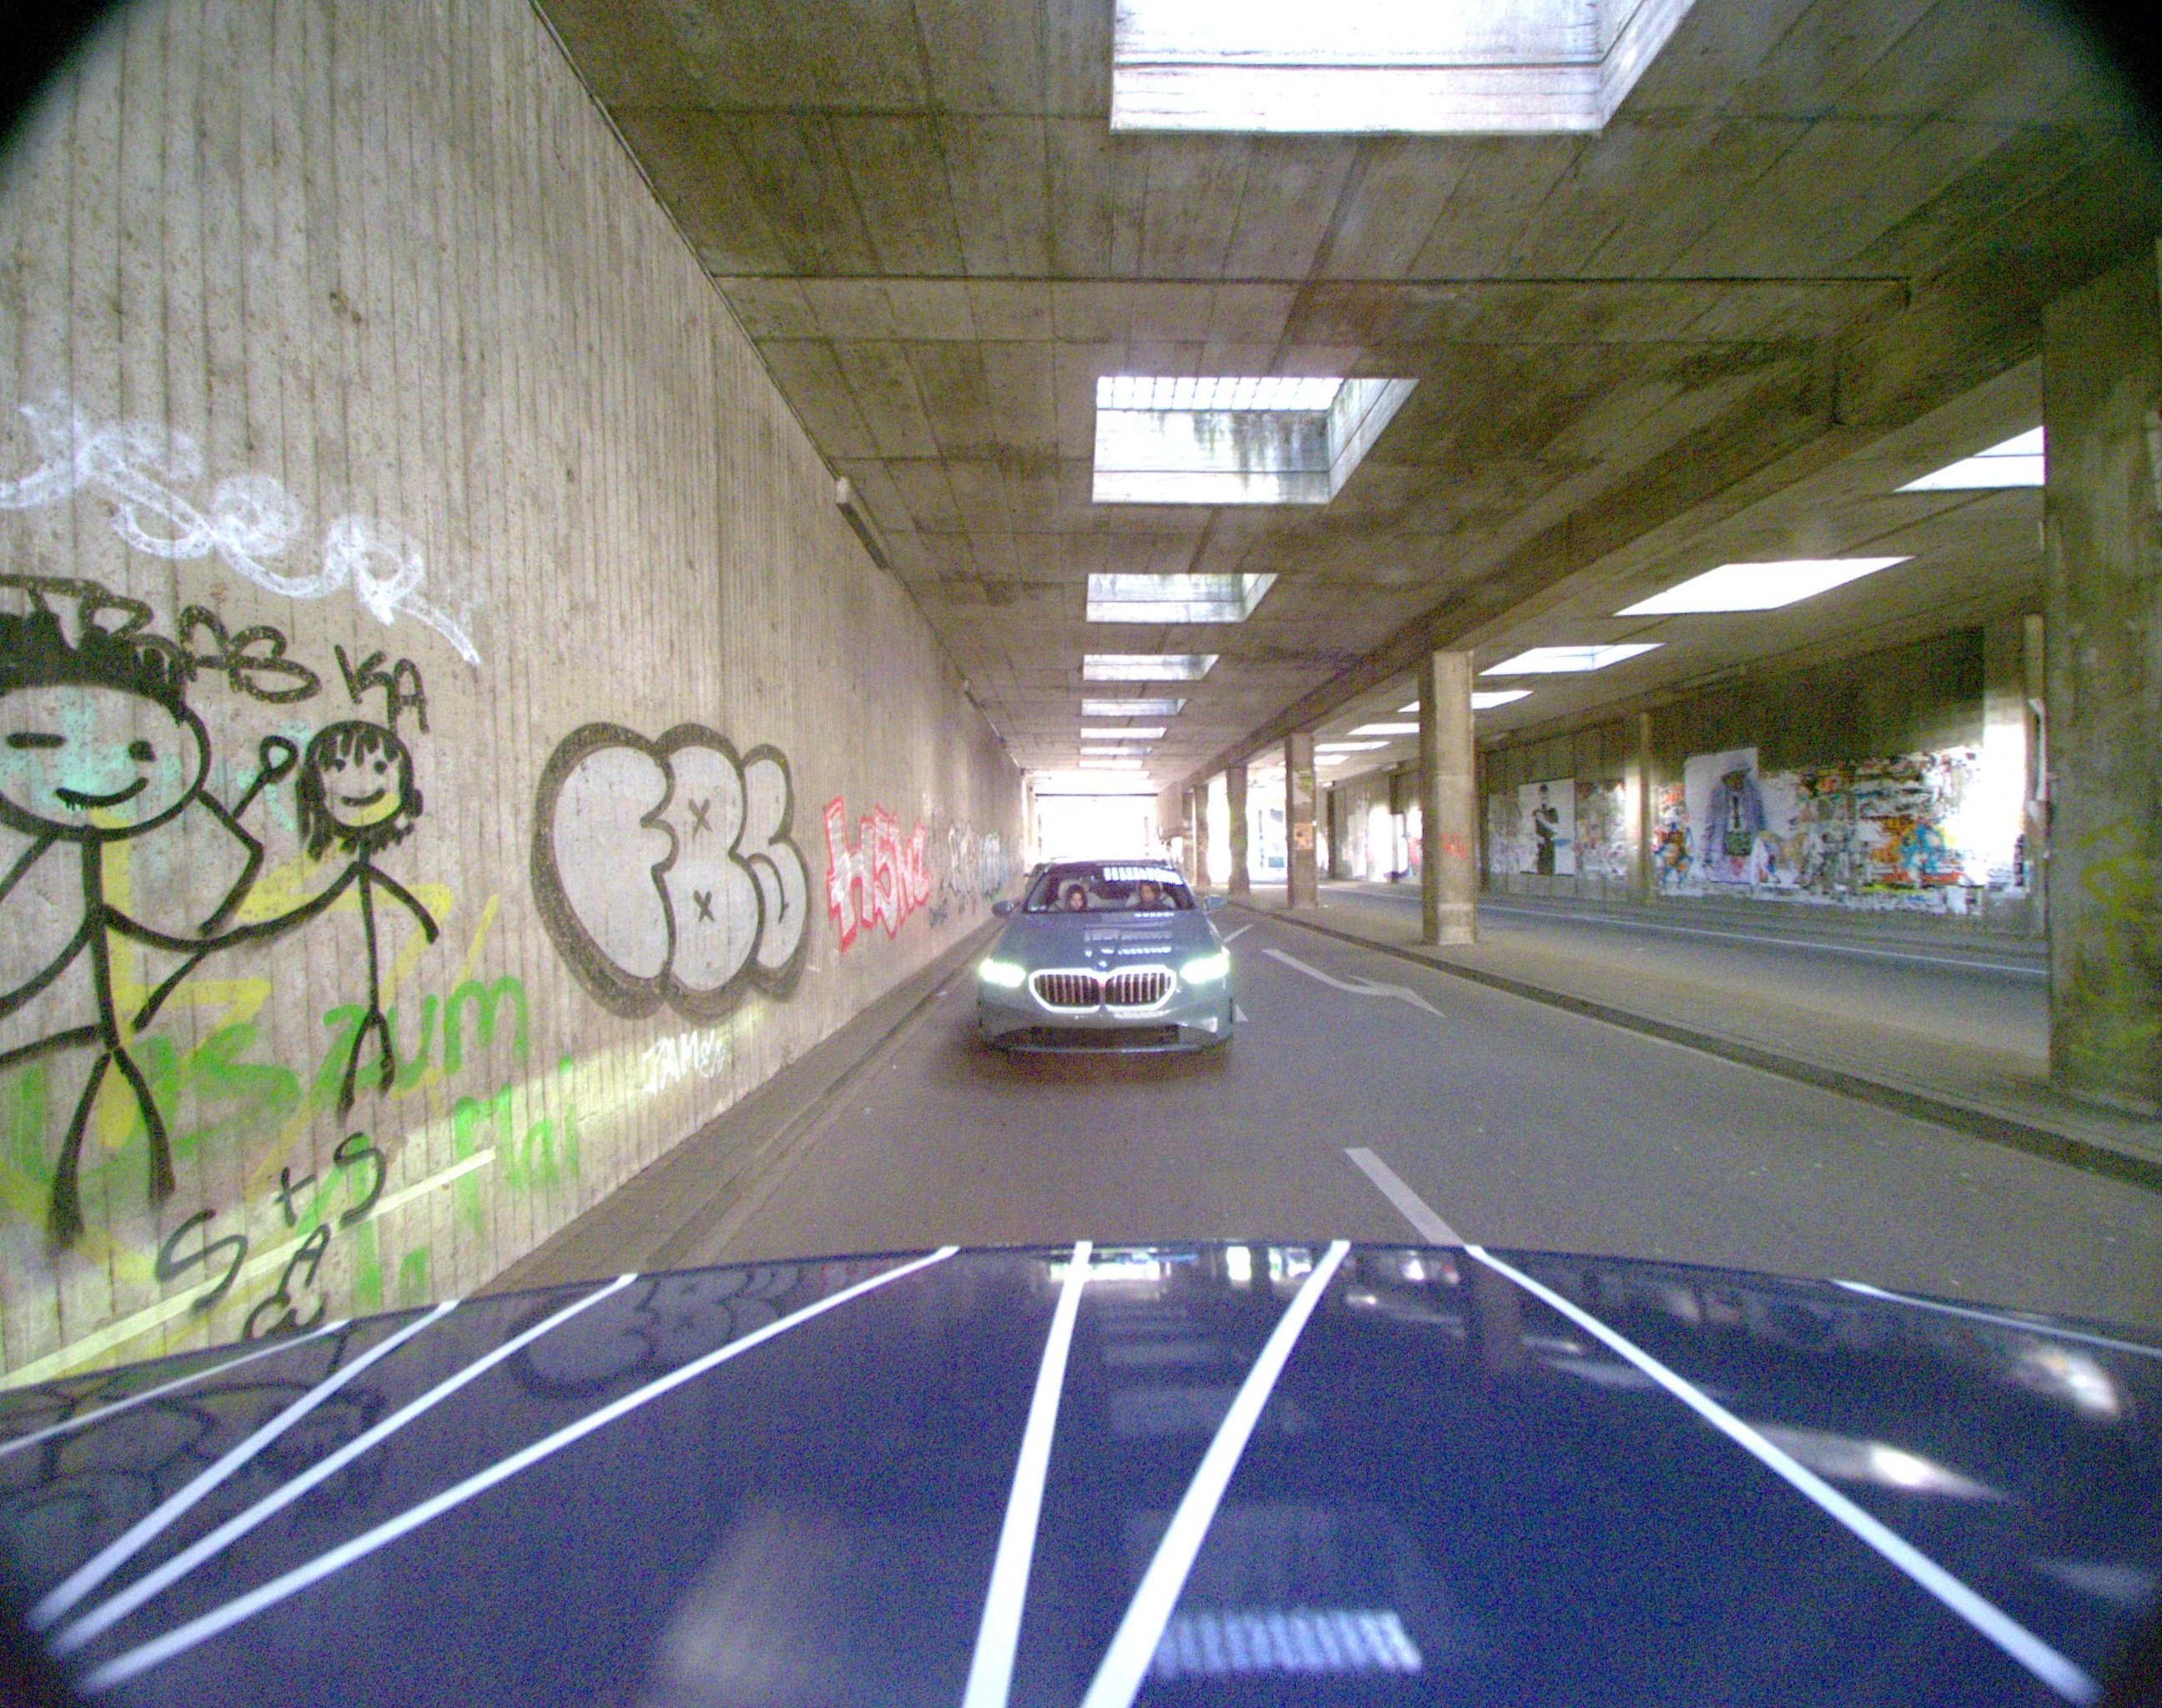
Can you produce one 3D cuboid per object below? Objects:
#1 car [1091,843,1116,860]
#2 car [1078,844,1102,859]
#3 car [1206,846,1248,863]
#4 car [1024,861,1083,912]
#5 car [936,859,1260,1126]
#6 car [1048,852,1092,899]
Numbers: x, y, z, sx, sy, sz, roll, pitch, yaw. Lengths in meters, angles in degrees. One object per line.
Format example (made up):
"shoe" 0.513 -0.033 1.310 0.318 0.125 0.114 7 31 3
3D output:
"car" 2.854 -0.323 97.547 2.361 2.002 5.146 -1 0 -8
"car" 1.199 -0.330 103.560 2.361 2.002 5.146 -1 0 -8
"car" 15.177 0.039 79.150 3.997 1.696 2.000 -1 0 -1
"car" -0.792 0.955 23.909 1.593 1.387 3.833 -2 0 1
"car" 0.184 0.888 7.335 1.998 1.594 5.176 -1 0 2
"car" -0.370 0.774 29.916 1.581 1.676 4.078 -2 0 1
